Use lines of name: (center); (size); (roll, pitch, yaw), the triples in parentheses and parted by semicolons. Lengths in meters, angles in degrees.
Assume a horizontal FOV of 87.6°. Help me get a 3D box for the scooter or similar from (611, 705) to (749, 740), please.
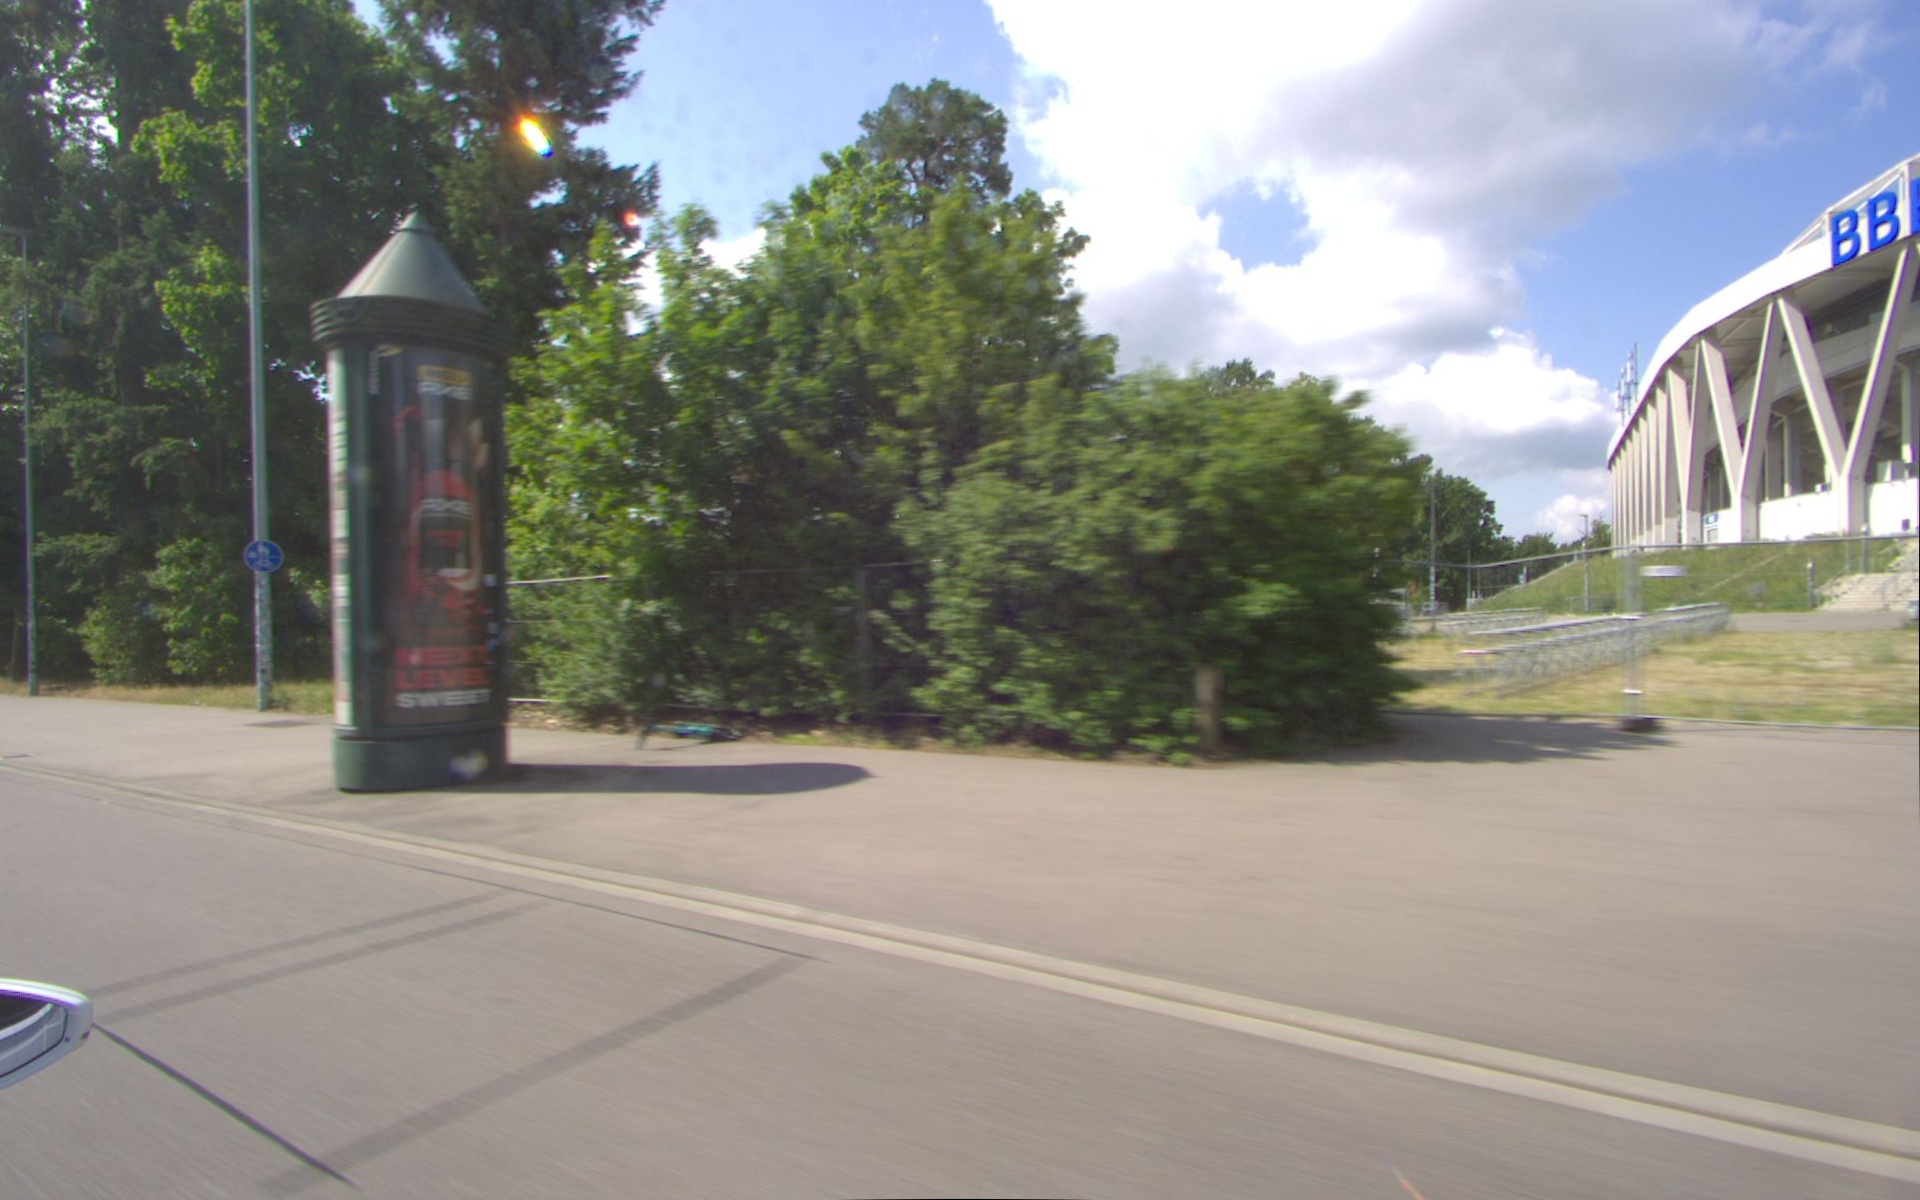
scooter or similar: (-3.416, 1.481, 12.213); (1.453, 0.393, 0.853); (-3, -7, 31)
